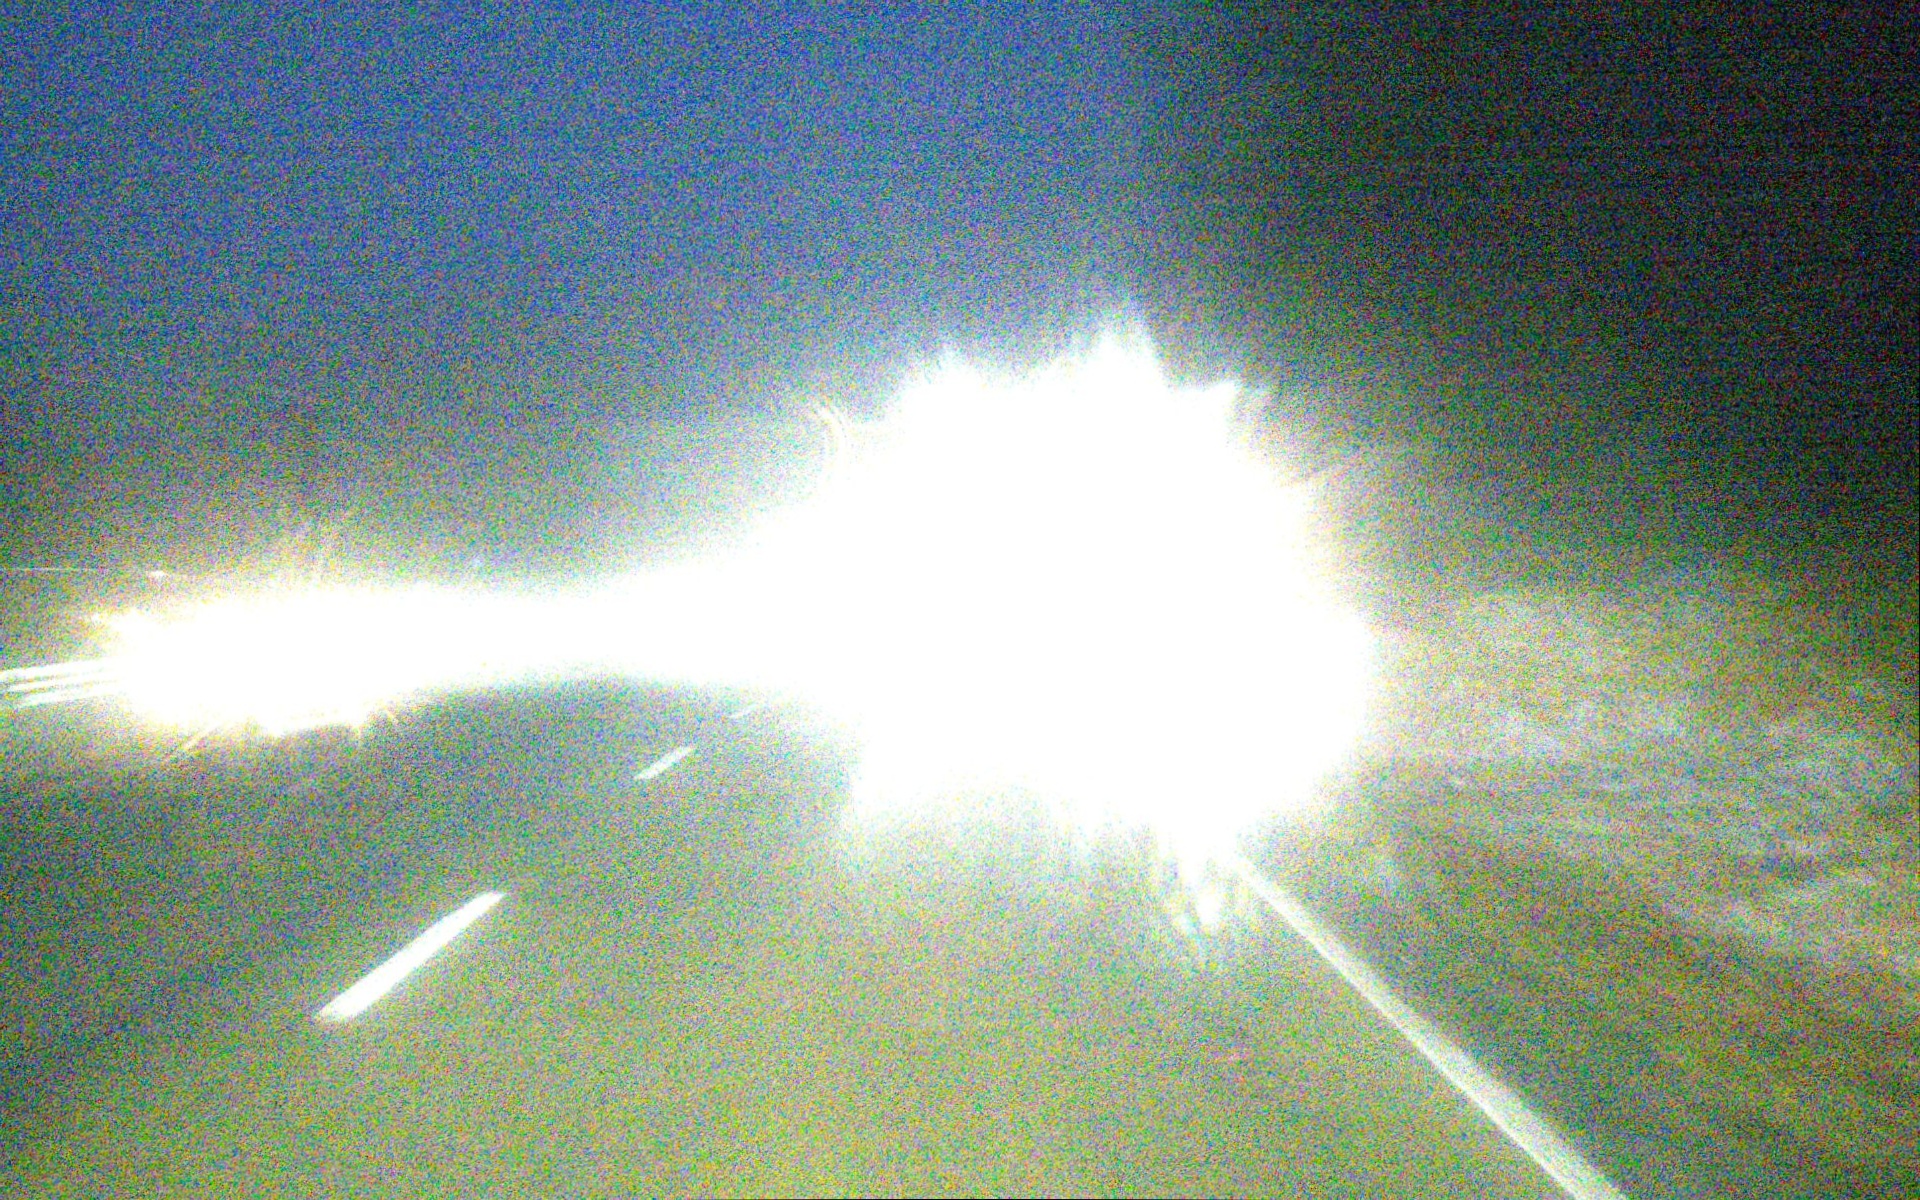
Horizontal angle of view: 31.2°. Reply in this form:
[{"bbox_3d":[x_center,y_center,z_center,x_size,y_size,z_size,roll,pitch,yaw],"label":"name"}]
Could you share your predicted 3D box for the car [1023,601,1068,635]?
[{"bbox_3d":[3.640,0.738,146.140,1.740,1.397,3.860,0,0,4],"label":"car"}]
